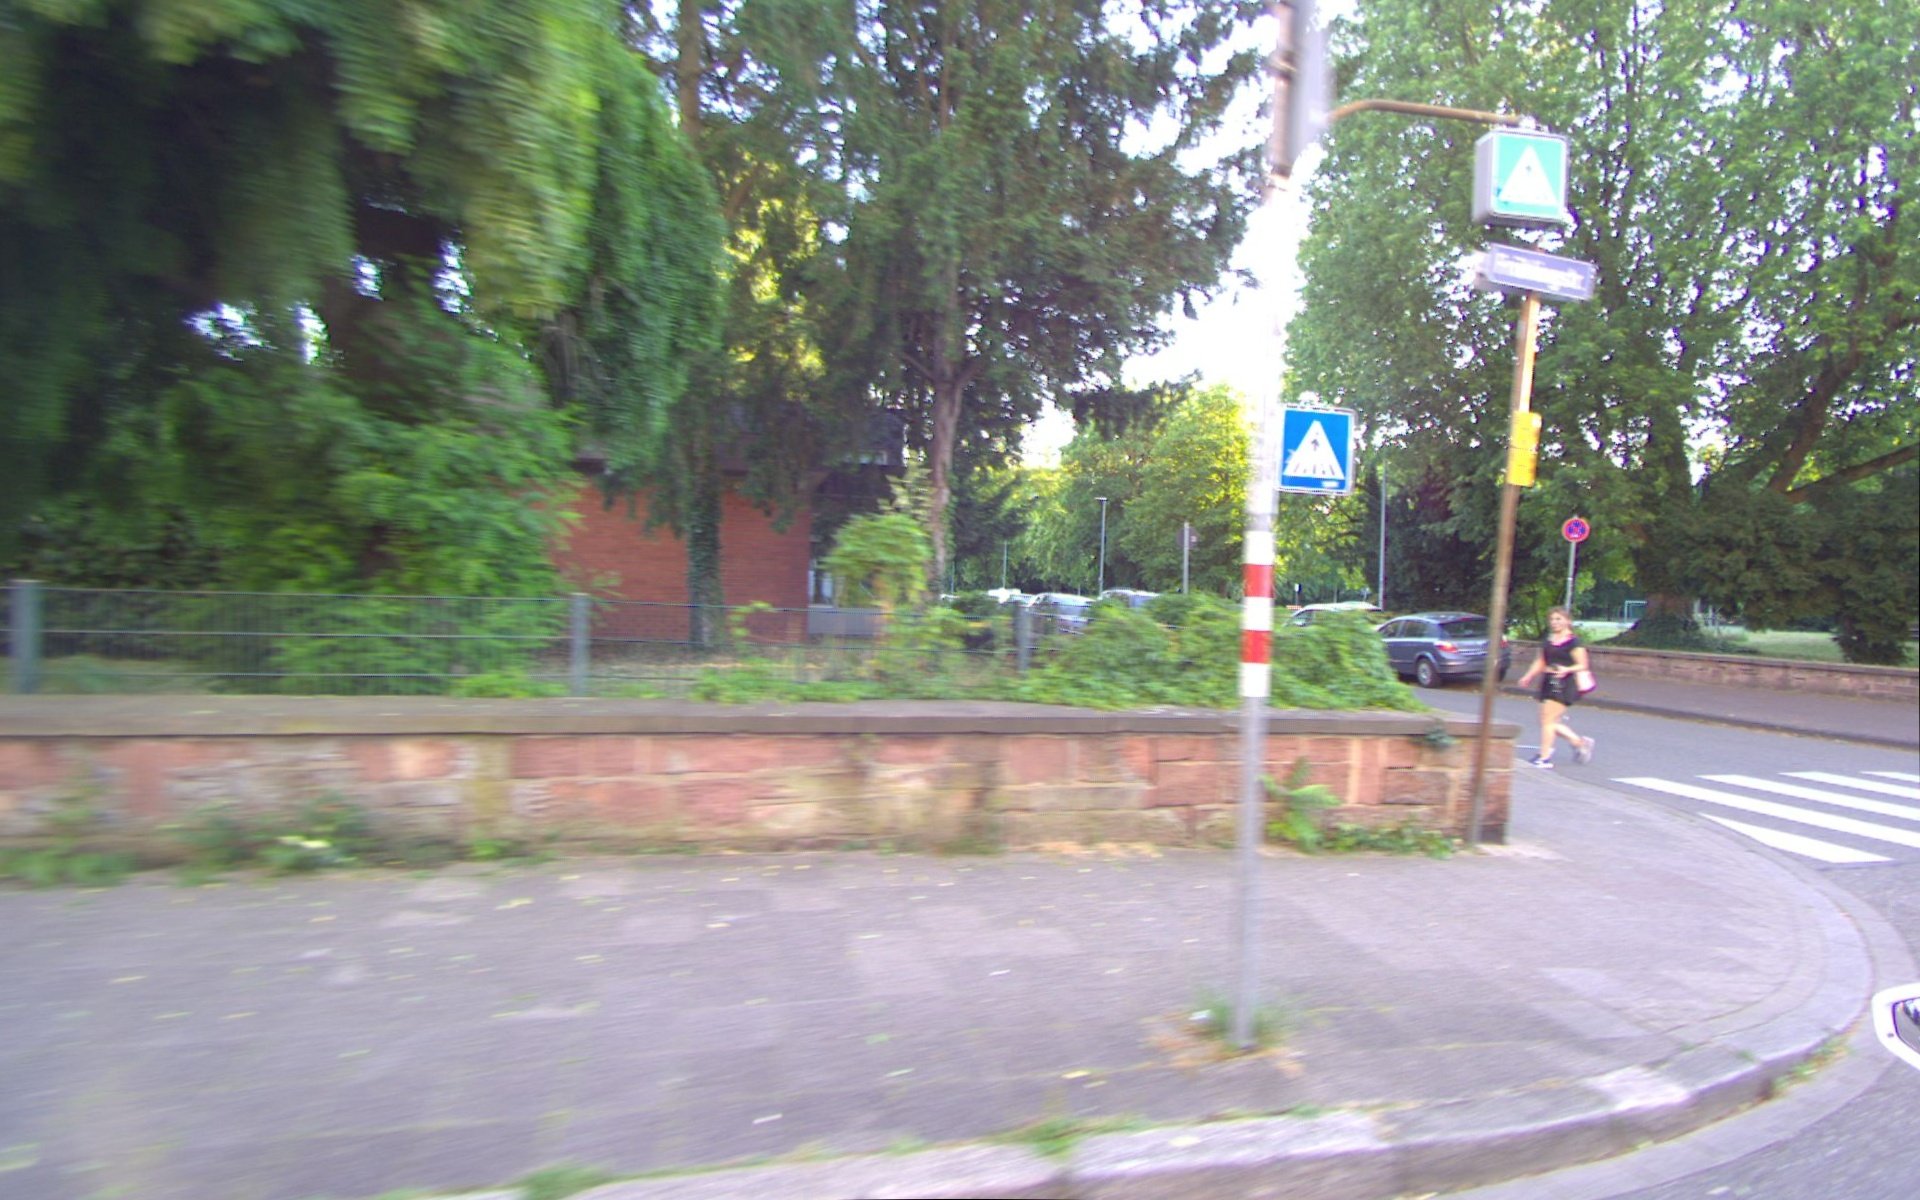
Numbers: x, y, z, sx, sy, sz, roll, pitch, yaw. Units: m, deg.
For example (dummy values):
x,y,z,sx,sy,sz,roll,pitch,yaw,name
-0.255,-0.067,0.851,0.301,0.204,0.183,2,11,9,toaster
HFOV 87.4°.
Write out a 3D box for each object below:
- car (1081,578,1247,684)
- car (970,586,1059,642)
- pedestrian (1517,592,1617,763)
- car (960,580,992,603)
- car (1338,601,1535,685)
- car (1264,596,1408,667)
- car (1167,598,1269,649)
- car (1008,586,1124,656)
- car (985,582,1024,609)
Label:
x,y,z,sx,sy,sz,roll,pitch,yaw,name
4.049,0.588,20.678,1.791,1.822,4.234,5,-1,-11,car
1.663,0.428,32.123,1.791,1.565,4.234,5,-1,-11,car
6.271,0.762,10.382,0.668,1.671,0.641,-1,4,-40,pedestrian
1.205,-0.675,78.842,1.790,1.625,3.876,-5,1,-9,car
10.163,0.850,21.762,1.792,1.512,3.854,-5,1,-13,car
9.809,0.763,26.524,1.790,1.583,3.876,-5,1,-9,car
8.496,0.737,33.417,1.790,1.459,3.876,-5,1,-9,car
2.683,0.518,26.414,1.791,1.565,4.234,5,-1,-11,car
2.944,-0.321,67.774,1.790,1.625,3.876,-5,1,-9,car
